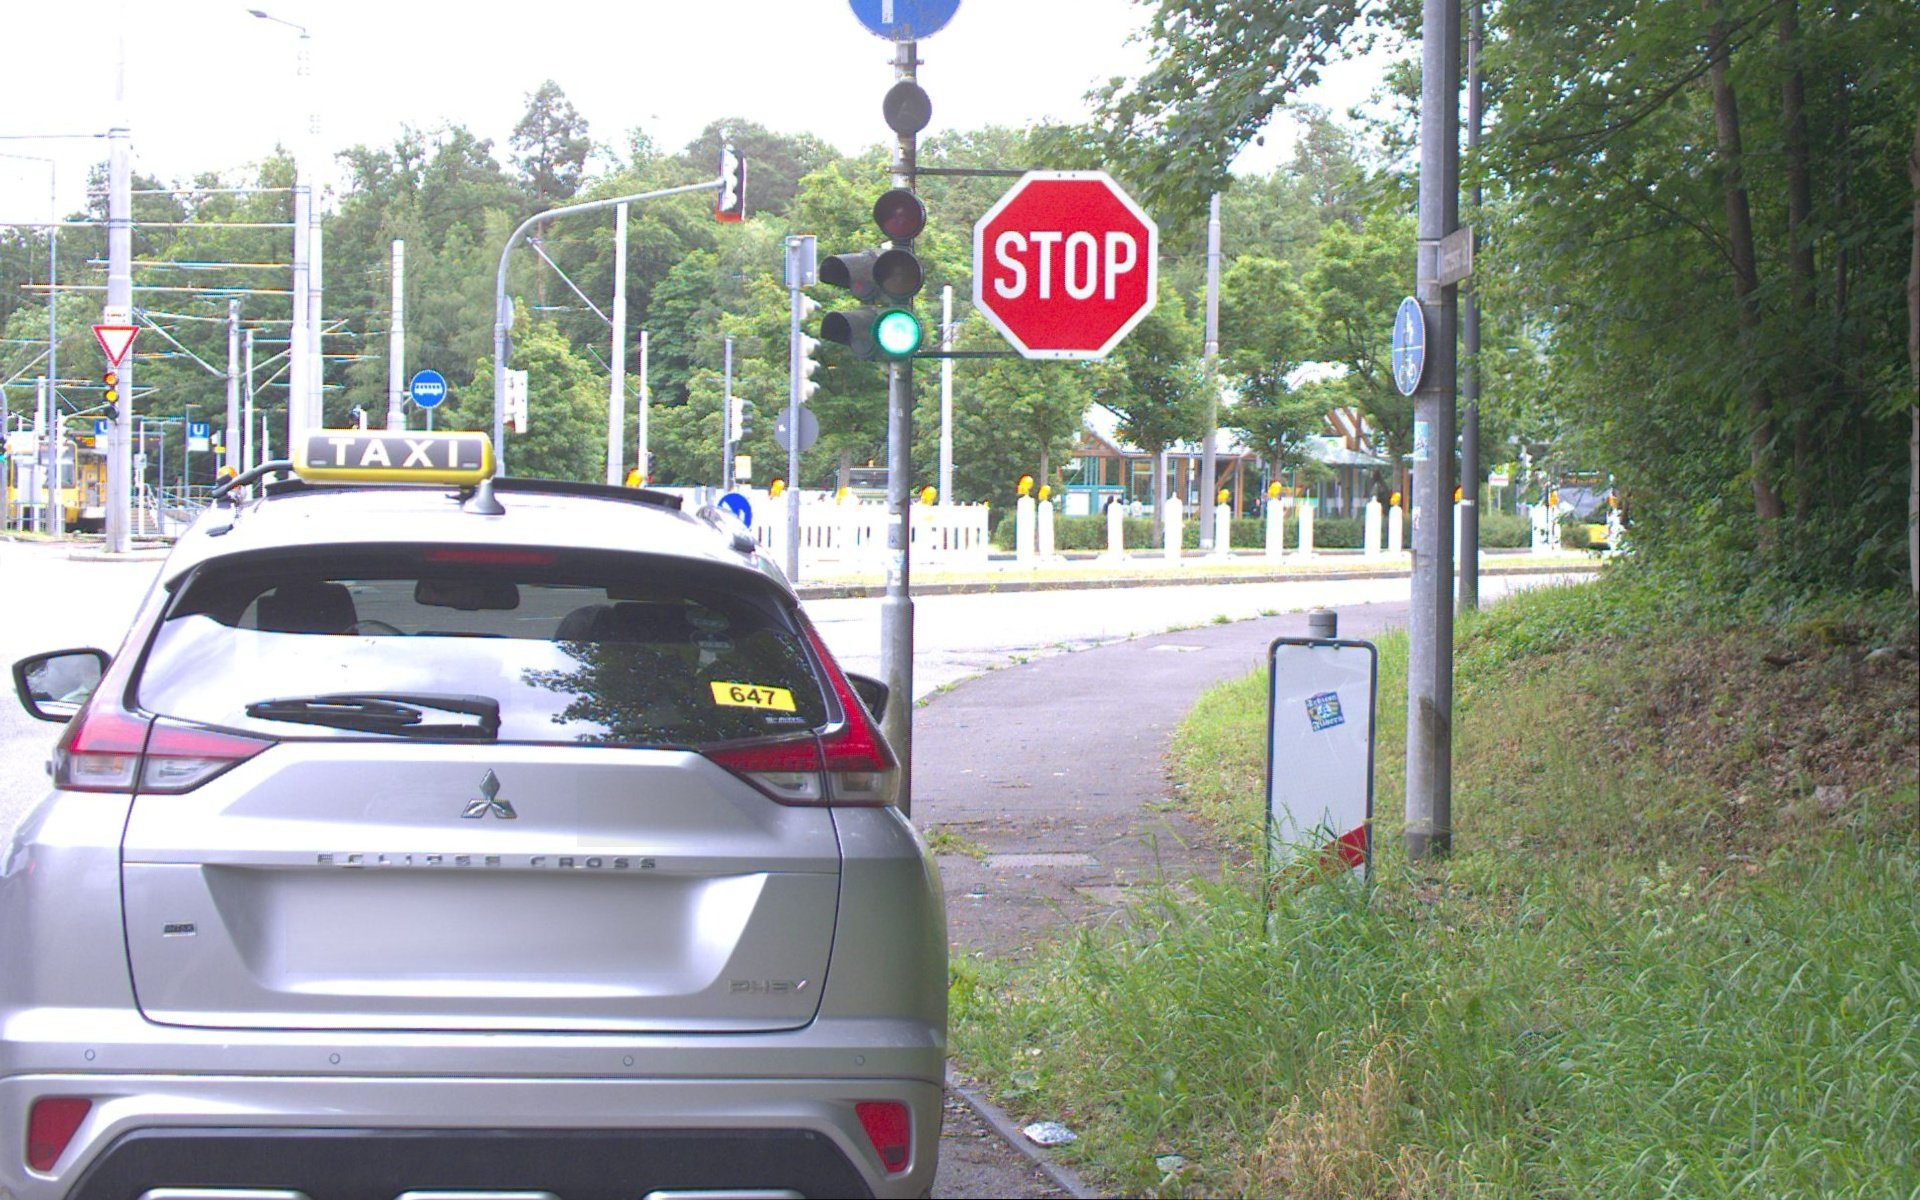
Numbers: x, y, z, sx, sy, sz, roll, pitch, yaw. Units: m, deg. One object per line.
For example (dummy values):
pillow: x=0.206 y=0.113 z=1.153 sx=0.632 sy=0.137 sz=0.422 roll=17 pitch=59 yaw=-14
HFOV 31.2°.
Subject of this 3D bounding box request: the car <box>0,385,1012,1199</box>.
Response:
car: x=-1.090 y=0.496 z=7.638 sx=1.773 sy=1.742 sz=3.782 roll=2 pitch=1 yaw=-8
